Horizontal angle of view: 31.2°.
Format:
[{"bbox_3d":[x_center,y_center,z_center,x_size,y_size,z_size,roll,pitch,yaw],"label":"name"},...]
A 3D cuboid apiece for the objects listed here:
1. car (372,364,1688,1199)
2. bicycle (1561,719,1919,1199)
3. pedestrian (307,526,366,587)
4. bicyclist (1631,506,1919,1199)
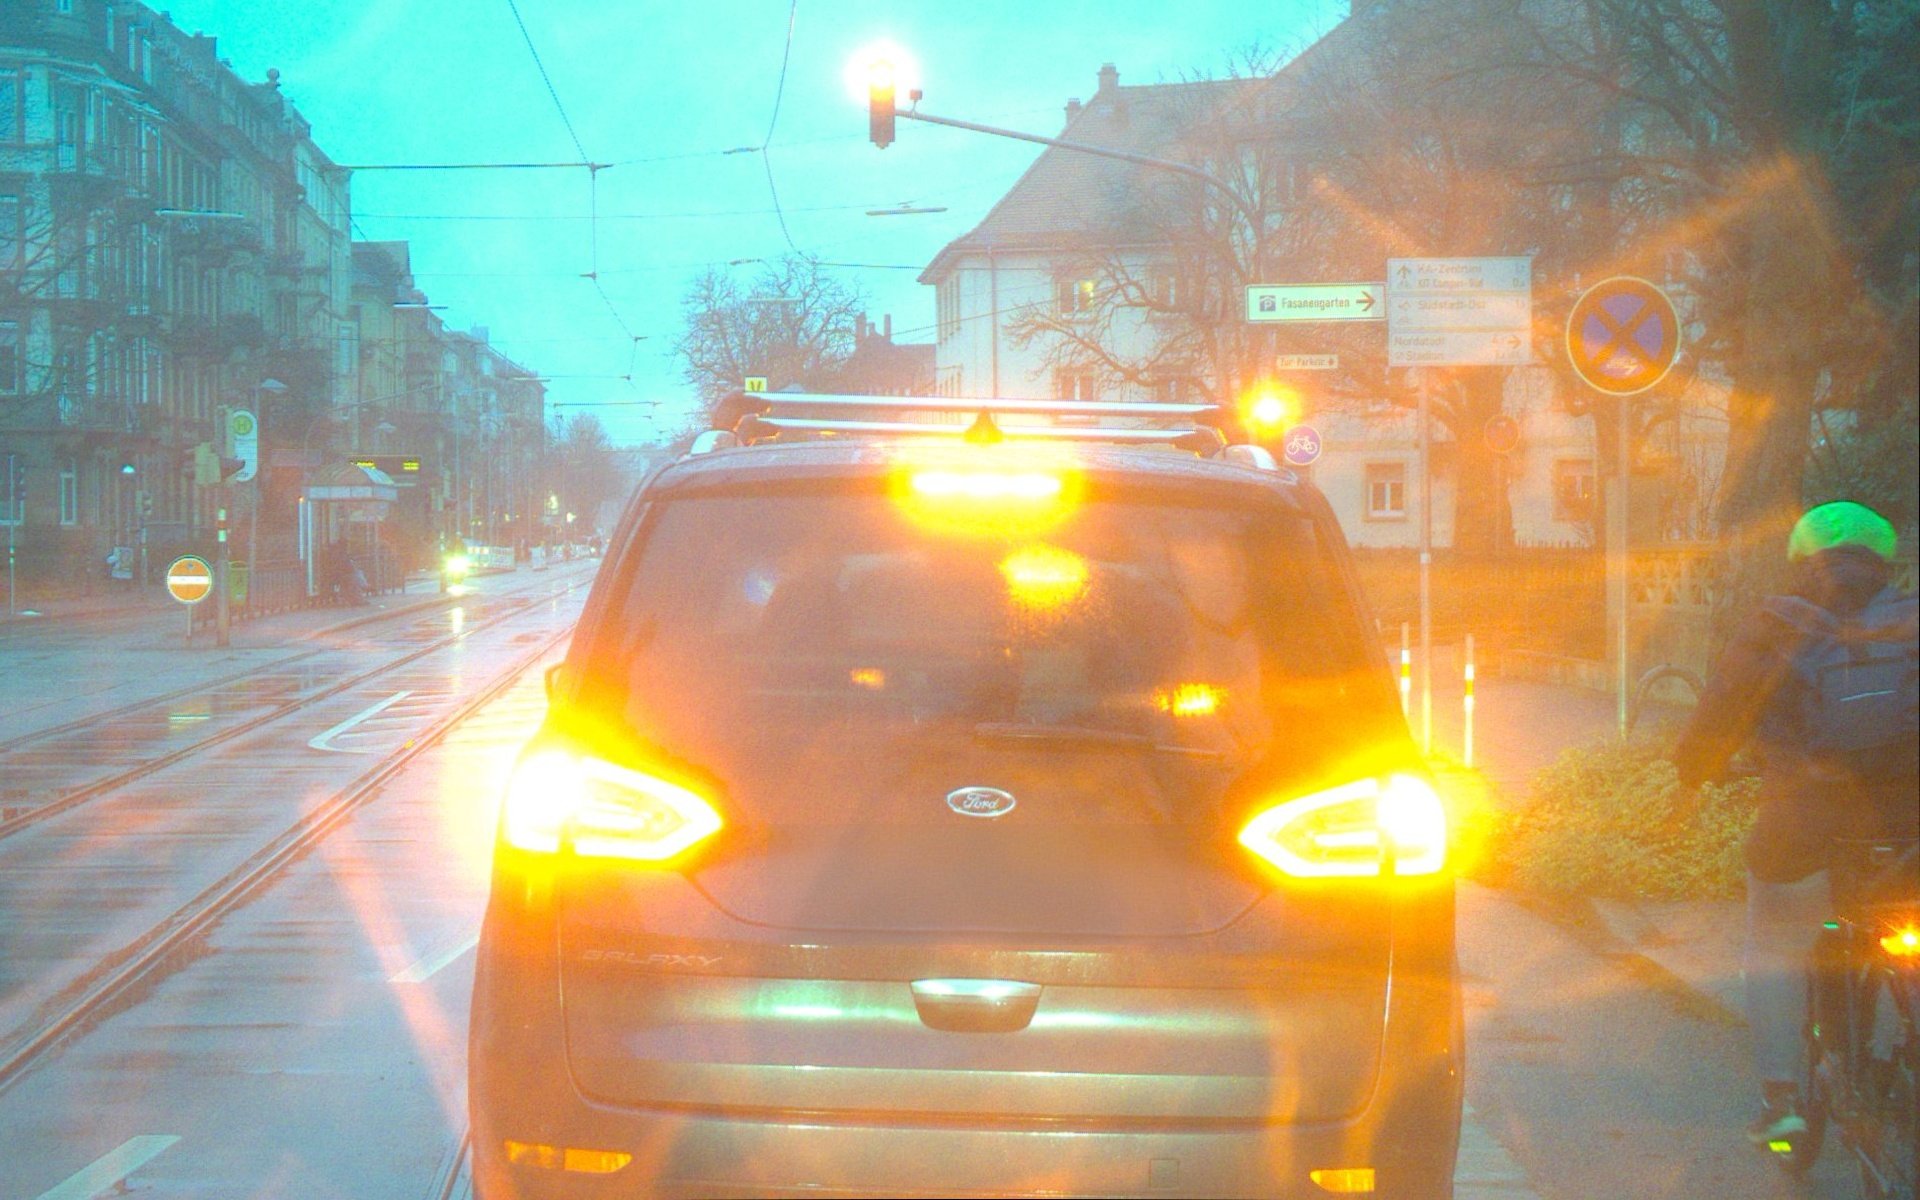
[{"bbox_3d":[0.034,0.506,7.921,2.103,1.810,4.661,2,1,-2],"label":"car"},{"bbox_3d":[2.089,0.909,8.002,0.716,1.108,1.942,4,1,-8],"label":"bicycle"},{"bbox_3d":[-12.437,-0.874,68.595,1.047,1.196,0.885,1,0,-3],"label":"pedestrian"},{"bbox_3d":[2.118,0.635,7.912,0.716,1.657,1.057,3,1,-8],"label":"bicyclist"}]
